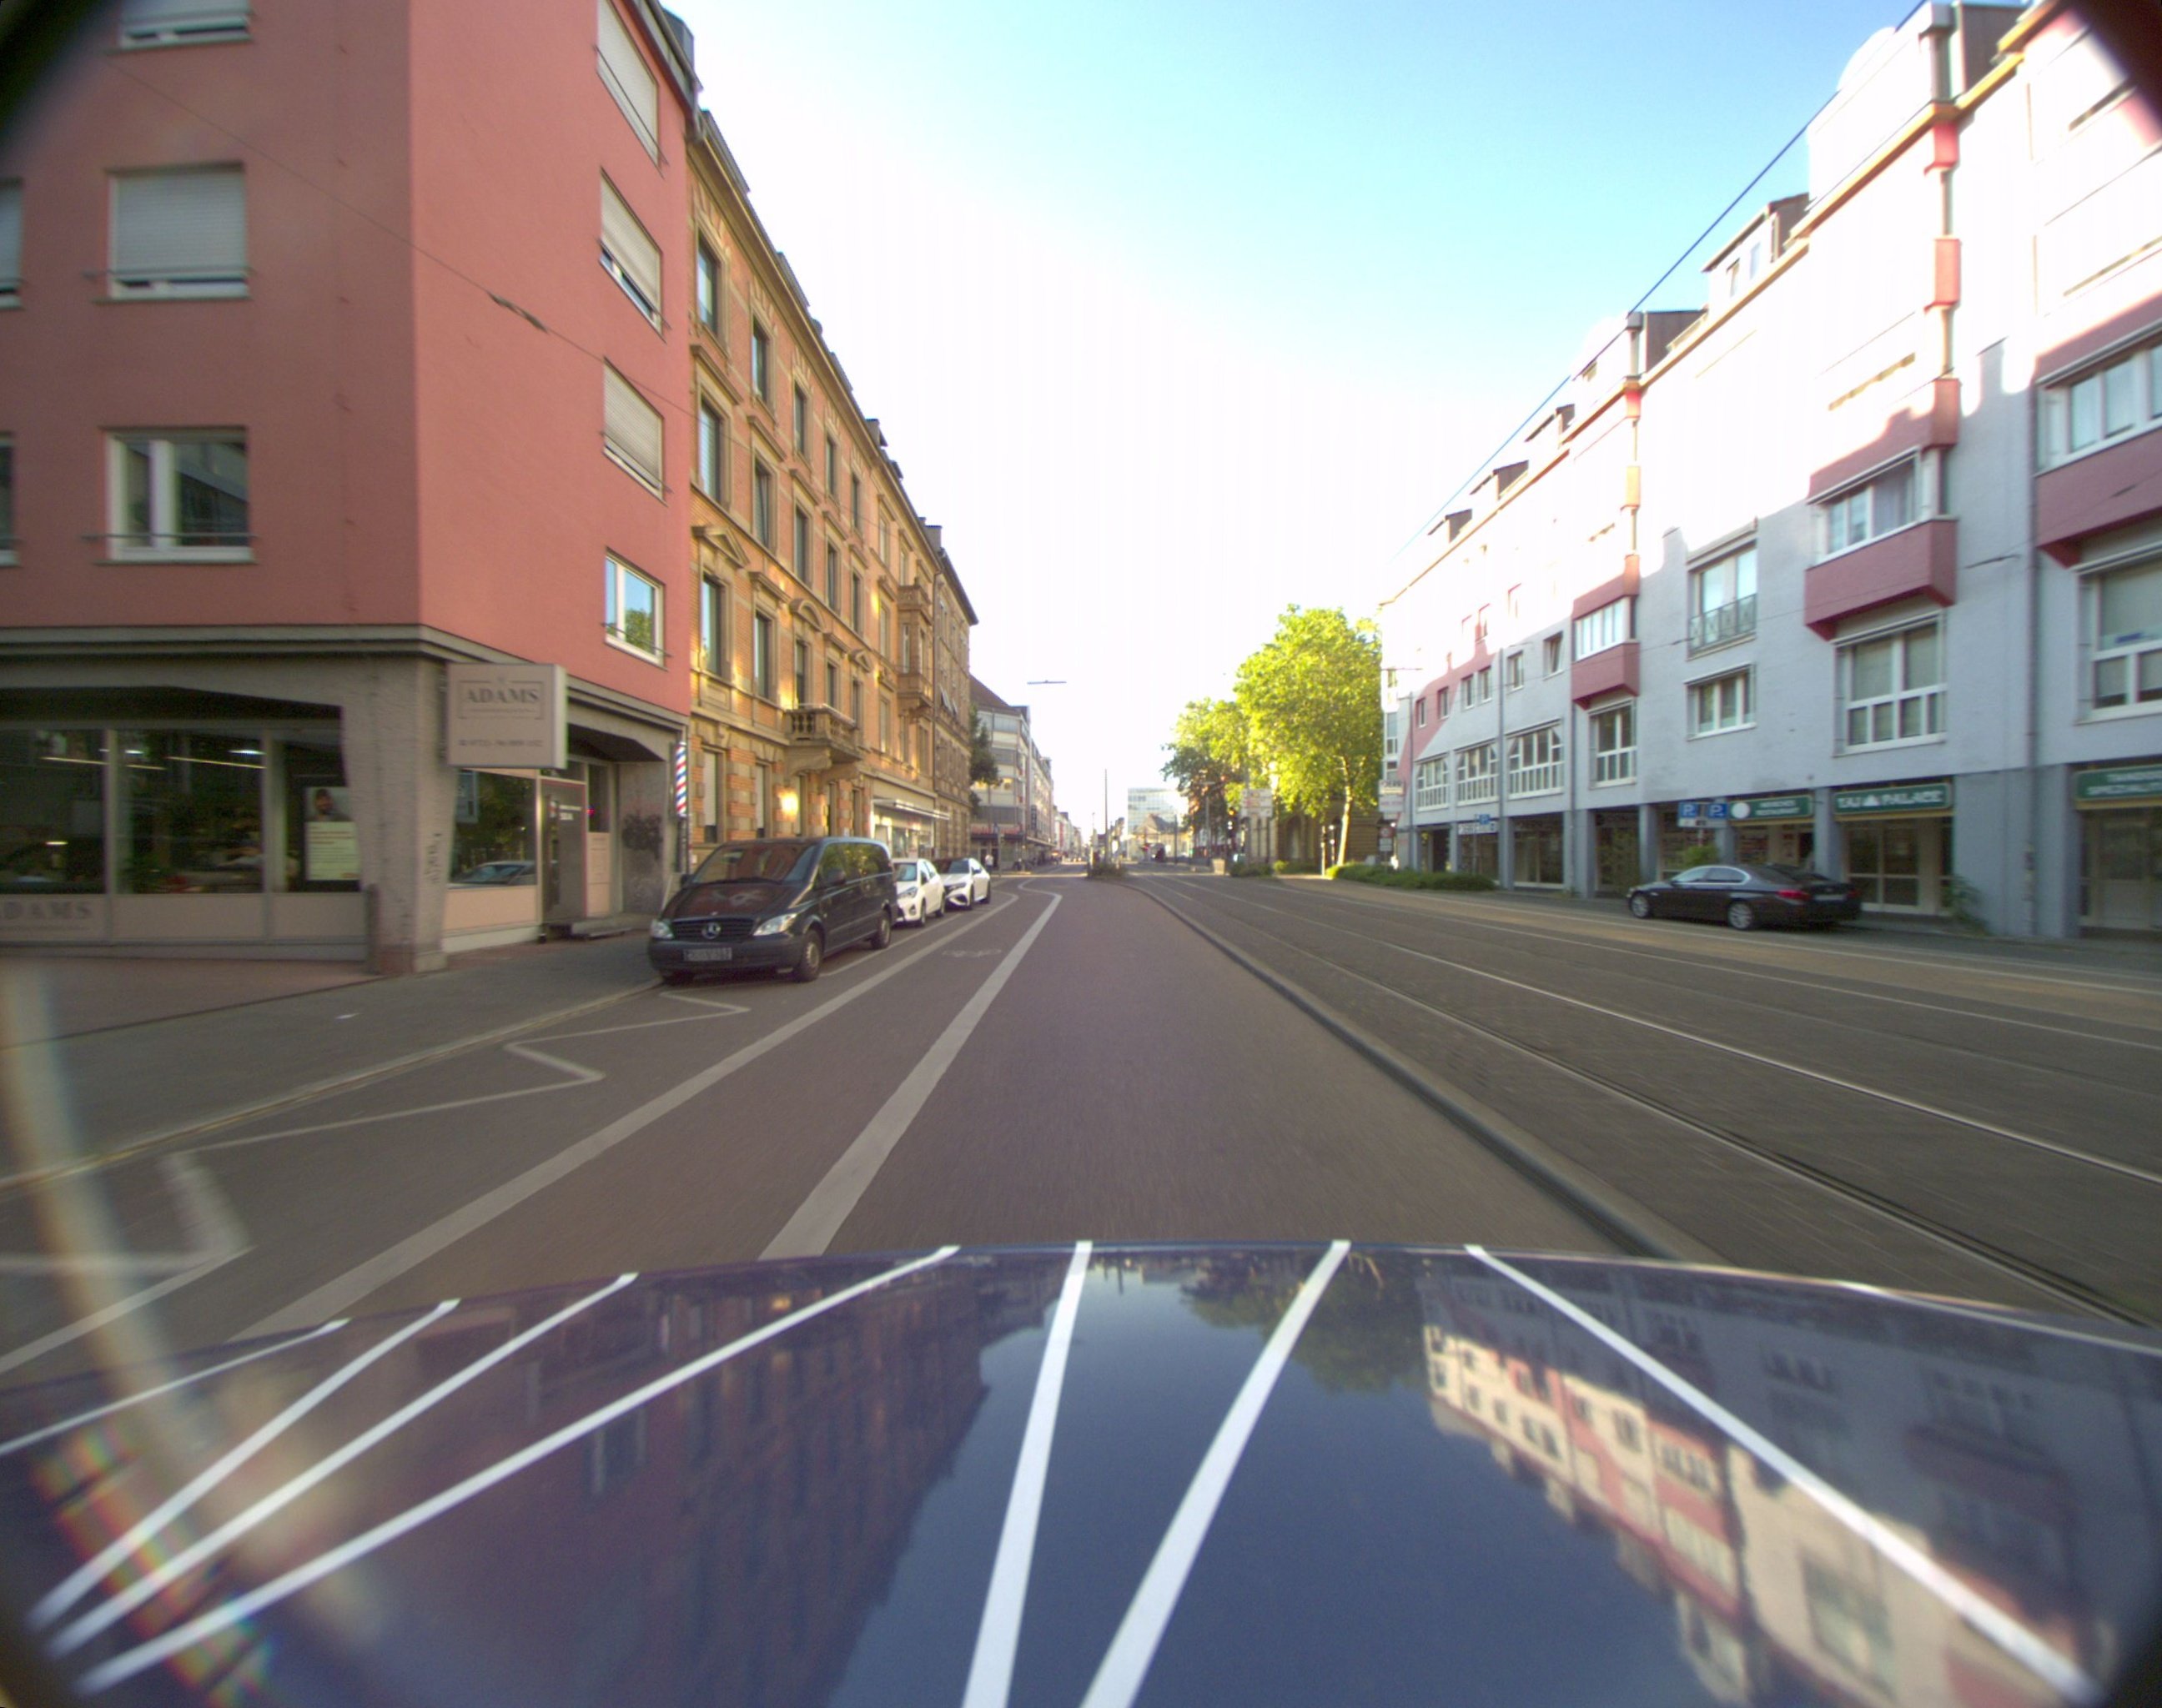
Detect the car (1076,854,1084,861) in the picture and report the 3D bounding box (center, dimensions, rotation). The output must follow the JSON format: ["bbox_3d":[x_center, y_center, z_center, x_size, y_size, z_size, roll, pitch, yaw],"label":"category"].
[{"bbox_3d":[-0.297,0.995,210.488,1.971,1.664,4.876,-1,-1,1],"label":"car"}]

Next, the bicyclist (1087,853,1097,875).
[{"bbox_3d":[0.798,0.710,54.533,0.534,1.569,0.744,0,0,-16],"label":"bicyclist"}]

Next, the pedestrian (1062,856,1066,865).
[{"bbox_3d":[-3.407,1.290,150.485,0.637,1.652,0.768,4,0,-8],"label":"pedestrian"}]

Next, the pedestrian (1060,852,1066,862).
[{"bbox_3d":[-3.365,0.639,141.459,0.812,1.793,0.859,-3,1,-28],"label":"pedestrian"}]

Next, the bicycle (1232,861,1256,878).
[{"bbox_3d":[11.268,1.071,52.524,1.903,1.071,0.582,-3,1,-43],"label":"bicycle"}]

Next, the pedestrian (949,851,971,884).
[{"bbox_3d":[-5.887,0.648,36.915,0.777,1.558,0.914,3,0,4],"label":"pedestrian"}]

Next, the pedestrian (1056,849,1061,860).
[{"bbox_3d":[-3.715,0.096,125.501,0.800,1.712,1.061,3,1,2],"label":"pedestrian"}]

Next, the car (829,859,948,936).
[{"bbox_3d":[-4.252,0.902,17.443,1.735,1.487,3.961,-2,0,-1],"label":"car"}]

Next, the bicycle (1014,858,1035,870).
[{"bbox_3d":[-5.385,0.964,73.053,1.975,1.098,0.614,0,0,-2],"label":"bicycle"}]

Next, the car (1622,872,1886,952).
[{"bbox_3d":[15.162,1.218,17.571,1.874,1.431,4.706,-1,0,-2],"label":"car"}]

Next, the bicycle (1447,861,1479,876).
[{"bbox_3d":[17.662,0.674,35.180,0.457,0.654,1.809,-3,0,-4],"label":"bicycle"}]

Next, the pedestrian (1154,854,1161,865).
[{"bbox_3d":[11.803,0.833,116.826,0.913,1.652,0.967,0,1,0],"label":"pedestrian"}]

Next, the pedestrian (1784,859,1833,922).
[{"bbox_3d":[19.833,0.988,20.735,0.745,1.702,0.616,0,0,-3],"label":"pedestrian"}]

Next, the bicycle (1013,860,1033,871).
[{"bbox_3d":[-5.397,1.061,70.649,1.838,1.048,0.710,0,0,-2],"label":"bicycle"}]

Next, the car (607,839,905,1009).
[{"bbox_3d":[-4.222,0.787,11.000,1.960,1.858,4.989,-2,0,2],"label":"car"}]

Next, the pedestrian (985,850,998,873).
[{"bbox_3d":[-6.472,0.568,55.156,0.785,1.655,1.034,0,-1,2],"label":"pedestrian"}]

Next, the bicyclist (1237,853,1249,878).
[{"bbox_3d":[11.174,0.781,52.411,0.747,1.702,0.532,0,0,-44],"label":"bicyclist"}]

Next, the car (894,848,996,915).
[{"bbox_3d":[-3.915,0.727,22.762,1.971,1.761,4.875,-1,0,2],"label":"car"}]

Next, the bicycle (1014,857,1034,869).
[{"bbox_3d":[-5.392,0.854,72.322,1.838,1.048,0.718,0,0,-2],"label":"bicycle"}]

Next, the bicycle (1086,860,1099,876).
[{"bbox_3d":[0.818,0.997,54.456,0.584,1.071,1.898,-3,0,-11],"label":"bicycle"}]

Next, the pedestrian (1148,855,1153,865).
[{"bbox_3d":[12.211,0.997,133.561,0.860,1.756,0.812,-2,1,8],"label":"pedestrian"}]
